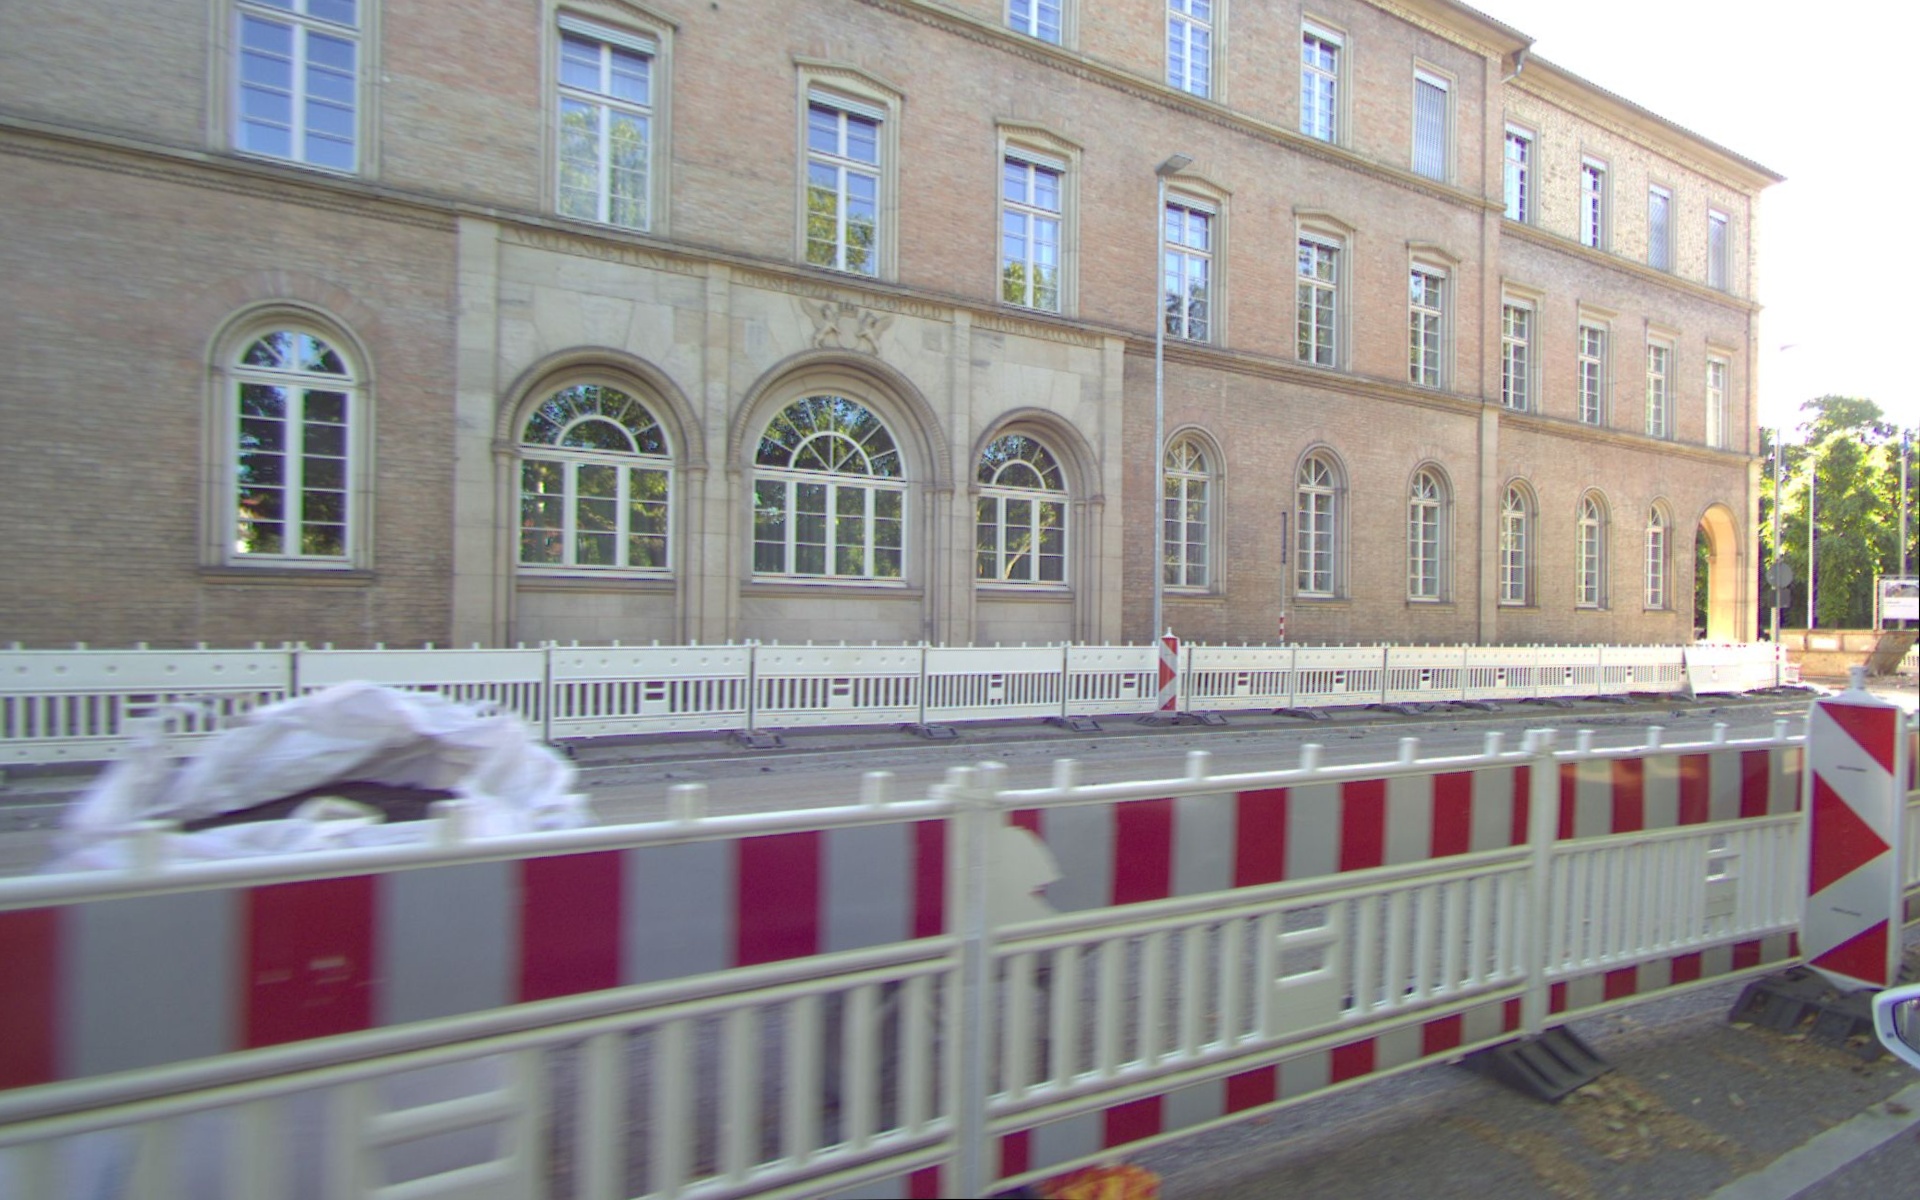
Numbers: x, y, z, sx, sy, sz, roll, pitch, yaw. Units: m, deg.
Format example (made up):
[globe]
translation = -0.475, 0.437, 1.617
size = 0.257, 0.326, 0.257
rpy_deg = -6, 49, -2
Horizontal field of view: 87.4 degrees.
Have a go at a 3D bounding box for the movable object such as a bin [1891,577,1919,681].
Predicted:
[movable object such as a bin]
translation = 29.000, 0.796, 27.562
size = 2.515, 3.071, 5.935
rpy_deg = 0, -2, 15
